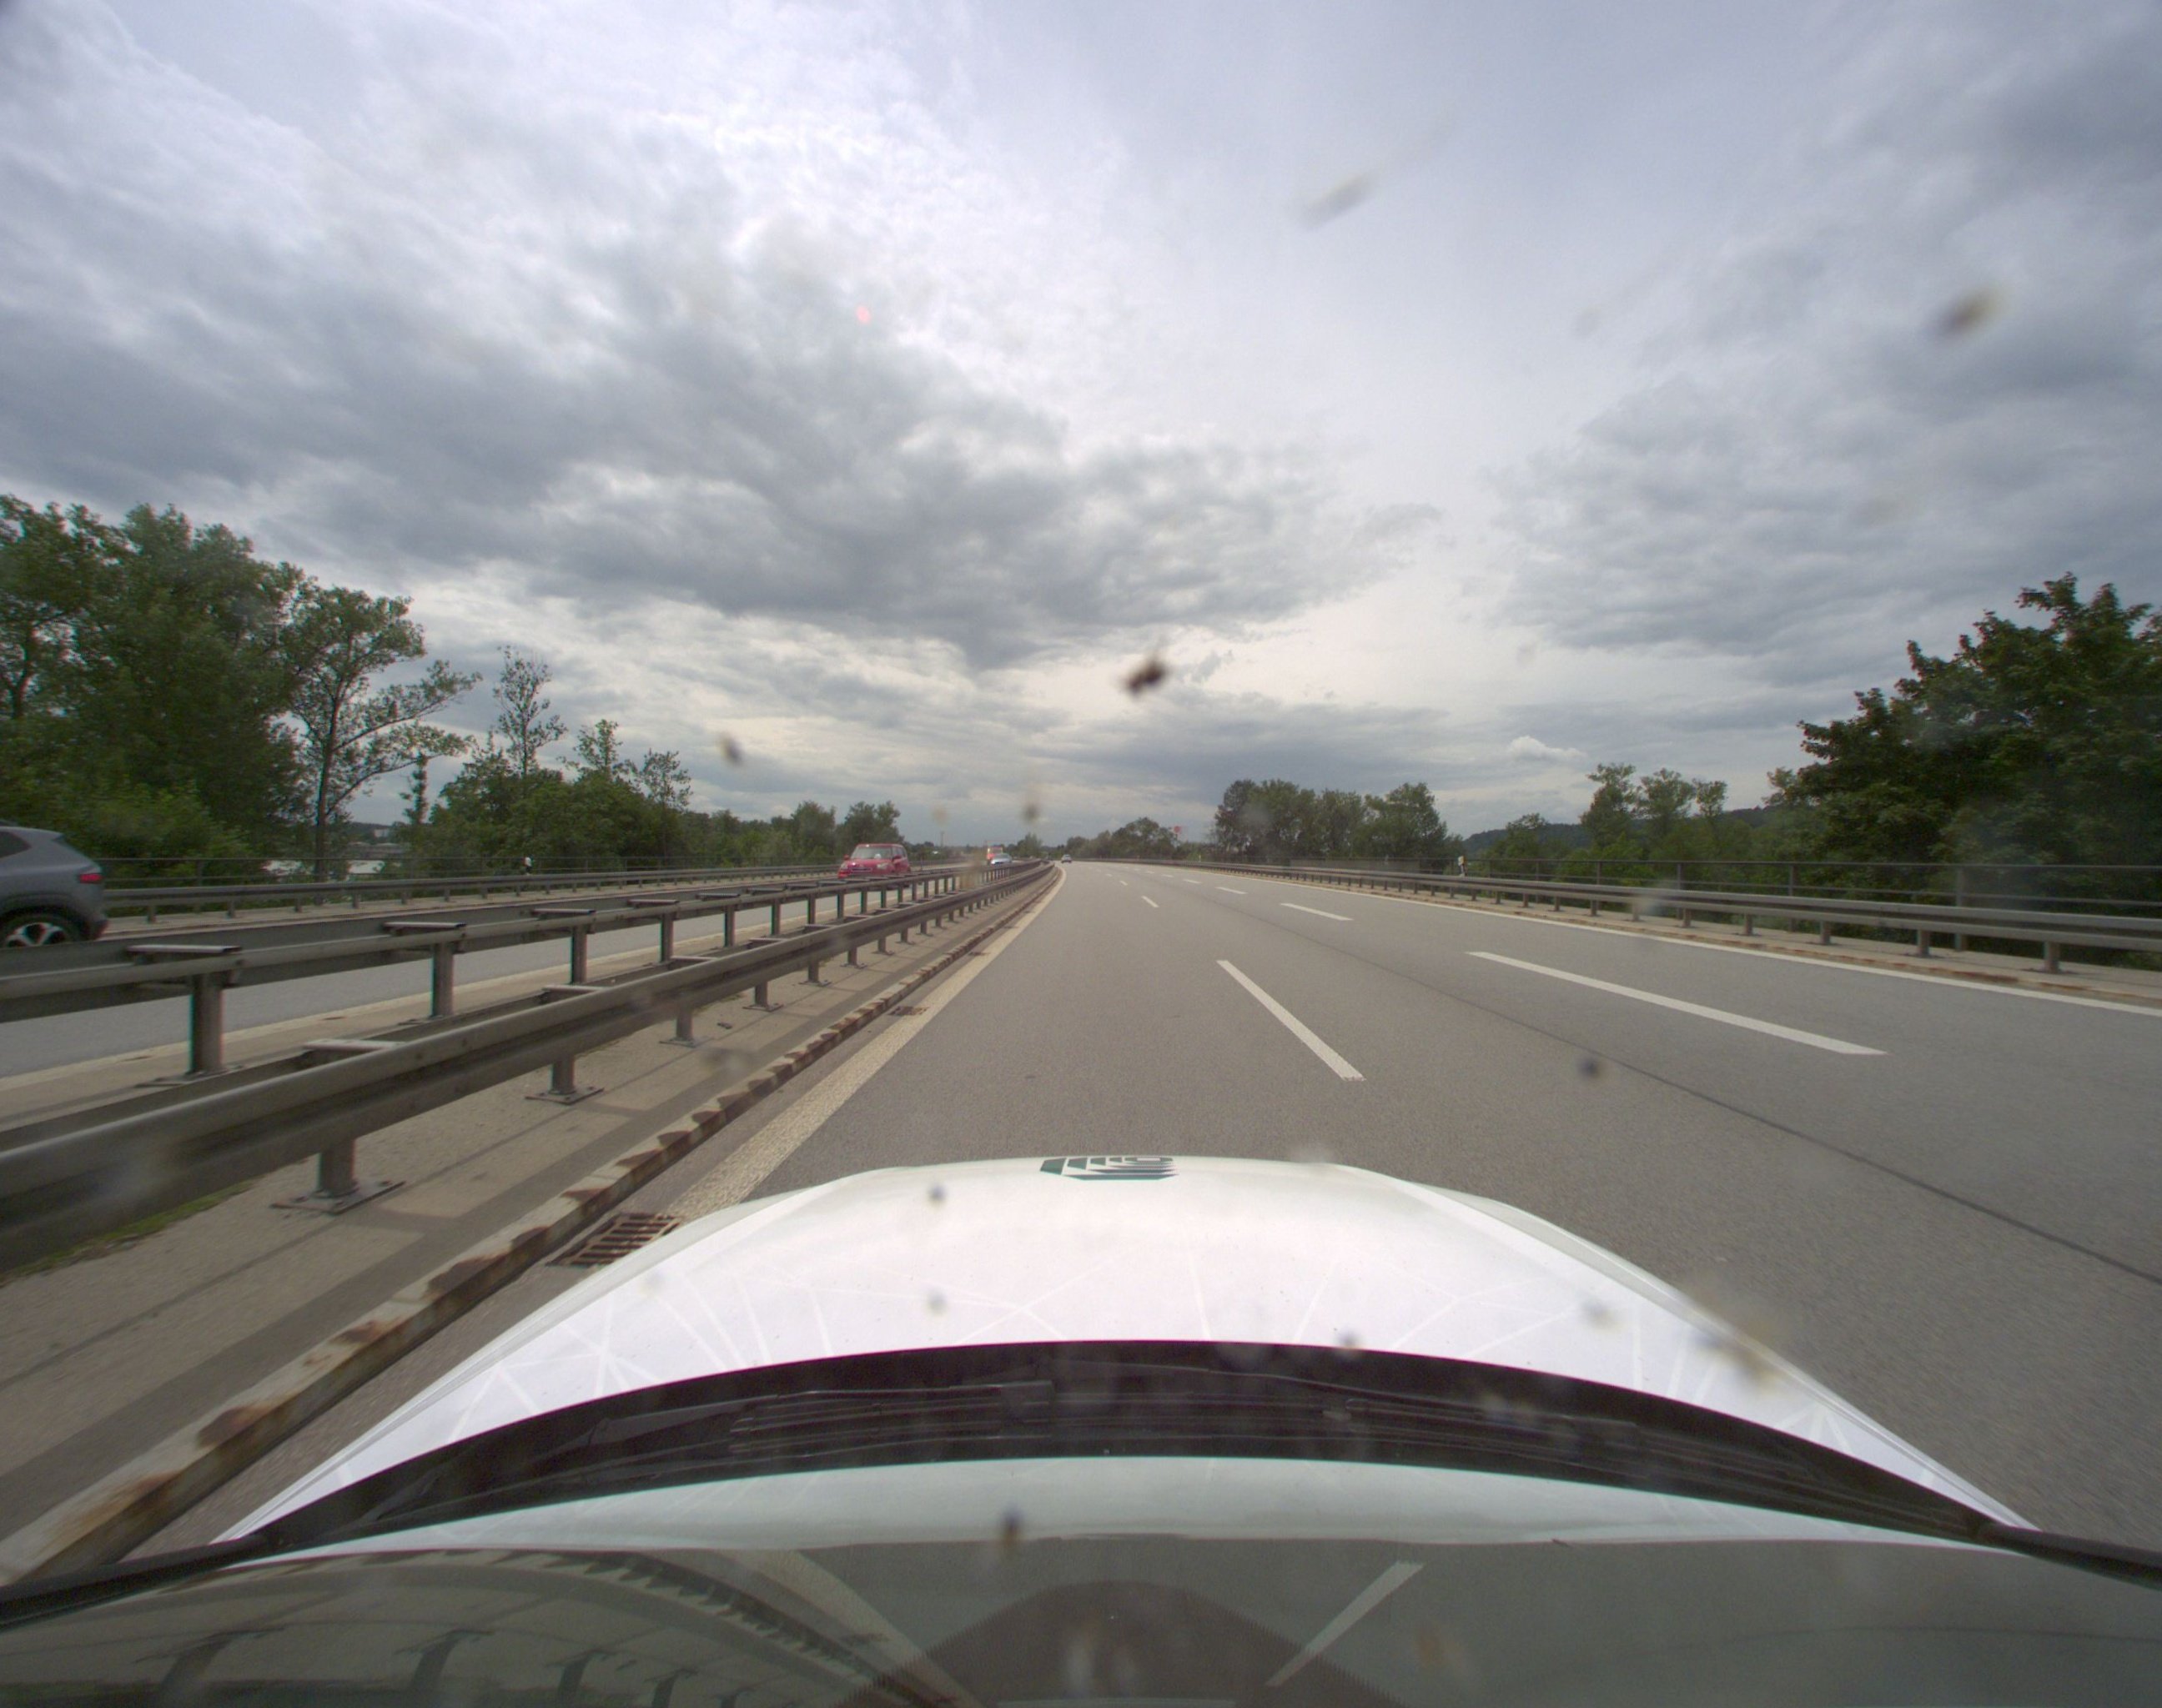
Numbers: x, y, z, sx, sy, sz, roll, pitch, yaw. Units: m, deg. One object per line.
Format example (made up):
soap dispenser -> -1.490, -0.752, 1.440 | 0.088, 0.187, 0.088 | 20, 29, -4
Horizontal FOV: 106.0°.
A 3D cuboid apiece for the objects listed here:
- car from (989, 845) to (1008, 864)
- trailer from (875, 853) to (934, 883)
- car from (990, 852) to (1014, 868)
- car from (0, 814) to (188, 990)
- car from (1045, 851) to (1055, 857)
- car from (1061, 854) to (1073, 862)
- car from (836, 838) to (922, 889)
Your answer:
car -> -10.578, 0.087, 104.398 | 1.988, 2.293, 6.392 | 0, 0, -2
trailer -> -7.085, 0.531, 32.901 | 1.553, 1.125, 3.451 | -1, 0, 1
car -> -7.488, 0.561, 77.428 | 1.723, 1.406, 4.250 | 0, 0, 1
car -> -10.968, 0.443, 6.897 | 1.704, 1.640, 4.569 | 0, 0, 1
car -> -8.081, 0.070, 213.926 | 1.893, 1.640, 4.605 | 0, 0, -10
car -> -2.830, 0.826, 169.157 | 1.902, 1.640, 4.382 | 0, 0, -9
car -> -7.048, 0.305, 28.866 | 1.806, 1.640, 4.569 | 0, 0, 1
